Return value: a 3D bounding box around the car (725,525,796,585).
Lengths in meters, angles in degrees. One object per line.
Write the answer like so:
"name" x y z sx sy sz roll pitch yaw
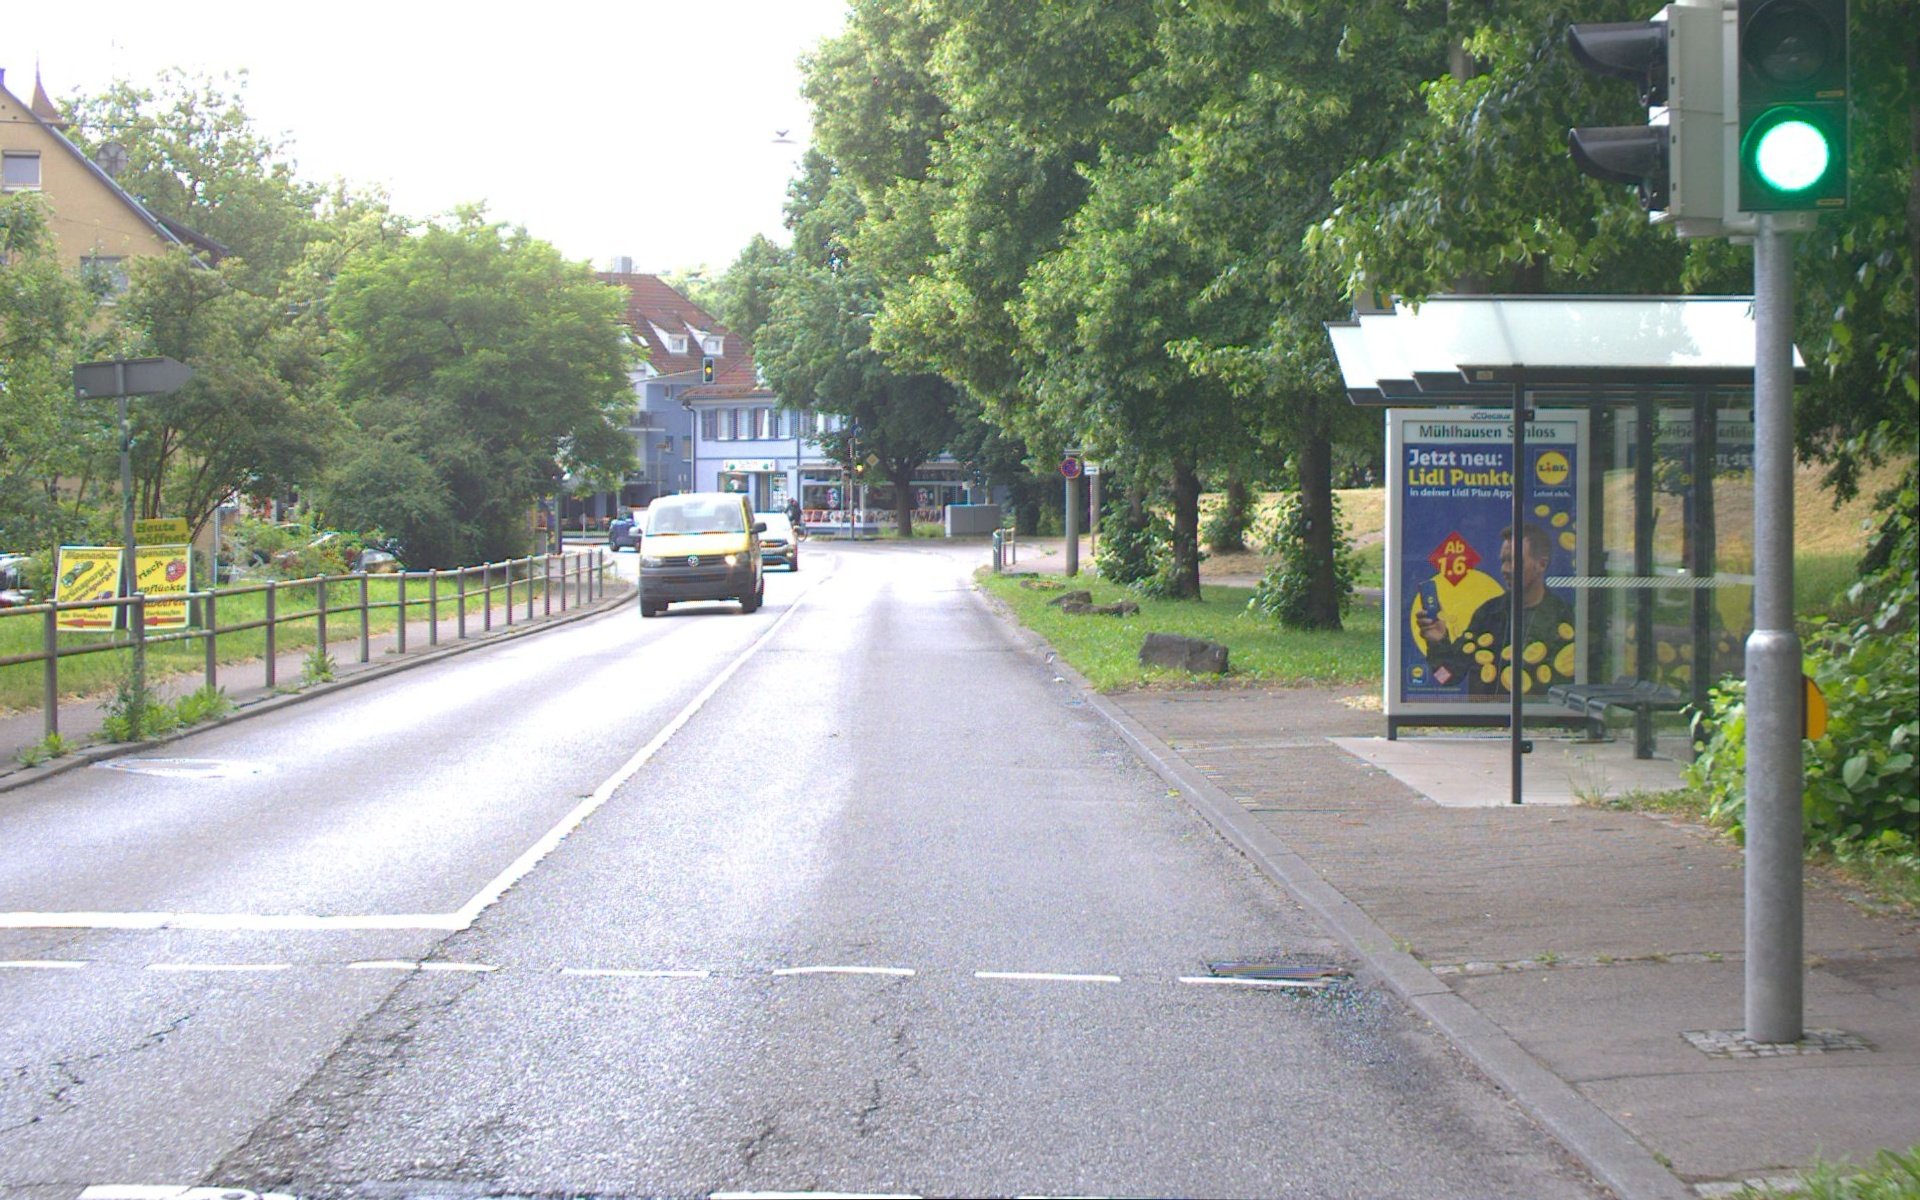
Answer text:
"car" -5.307 -1.209 91.814 1.704 1.506 4.000 -2 1 -1

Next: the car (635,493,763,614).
"car" -4.299 -0.791 57.243 1.845 1.924 4.769 0 1 -1

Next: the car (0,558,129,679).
"car" -14.139 0.263 51.812 1.921 1.689 4.000 -1 1 5
